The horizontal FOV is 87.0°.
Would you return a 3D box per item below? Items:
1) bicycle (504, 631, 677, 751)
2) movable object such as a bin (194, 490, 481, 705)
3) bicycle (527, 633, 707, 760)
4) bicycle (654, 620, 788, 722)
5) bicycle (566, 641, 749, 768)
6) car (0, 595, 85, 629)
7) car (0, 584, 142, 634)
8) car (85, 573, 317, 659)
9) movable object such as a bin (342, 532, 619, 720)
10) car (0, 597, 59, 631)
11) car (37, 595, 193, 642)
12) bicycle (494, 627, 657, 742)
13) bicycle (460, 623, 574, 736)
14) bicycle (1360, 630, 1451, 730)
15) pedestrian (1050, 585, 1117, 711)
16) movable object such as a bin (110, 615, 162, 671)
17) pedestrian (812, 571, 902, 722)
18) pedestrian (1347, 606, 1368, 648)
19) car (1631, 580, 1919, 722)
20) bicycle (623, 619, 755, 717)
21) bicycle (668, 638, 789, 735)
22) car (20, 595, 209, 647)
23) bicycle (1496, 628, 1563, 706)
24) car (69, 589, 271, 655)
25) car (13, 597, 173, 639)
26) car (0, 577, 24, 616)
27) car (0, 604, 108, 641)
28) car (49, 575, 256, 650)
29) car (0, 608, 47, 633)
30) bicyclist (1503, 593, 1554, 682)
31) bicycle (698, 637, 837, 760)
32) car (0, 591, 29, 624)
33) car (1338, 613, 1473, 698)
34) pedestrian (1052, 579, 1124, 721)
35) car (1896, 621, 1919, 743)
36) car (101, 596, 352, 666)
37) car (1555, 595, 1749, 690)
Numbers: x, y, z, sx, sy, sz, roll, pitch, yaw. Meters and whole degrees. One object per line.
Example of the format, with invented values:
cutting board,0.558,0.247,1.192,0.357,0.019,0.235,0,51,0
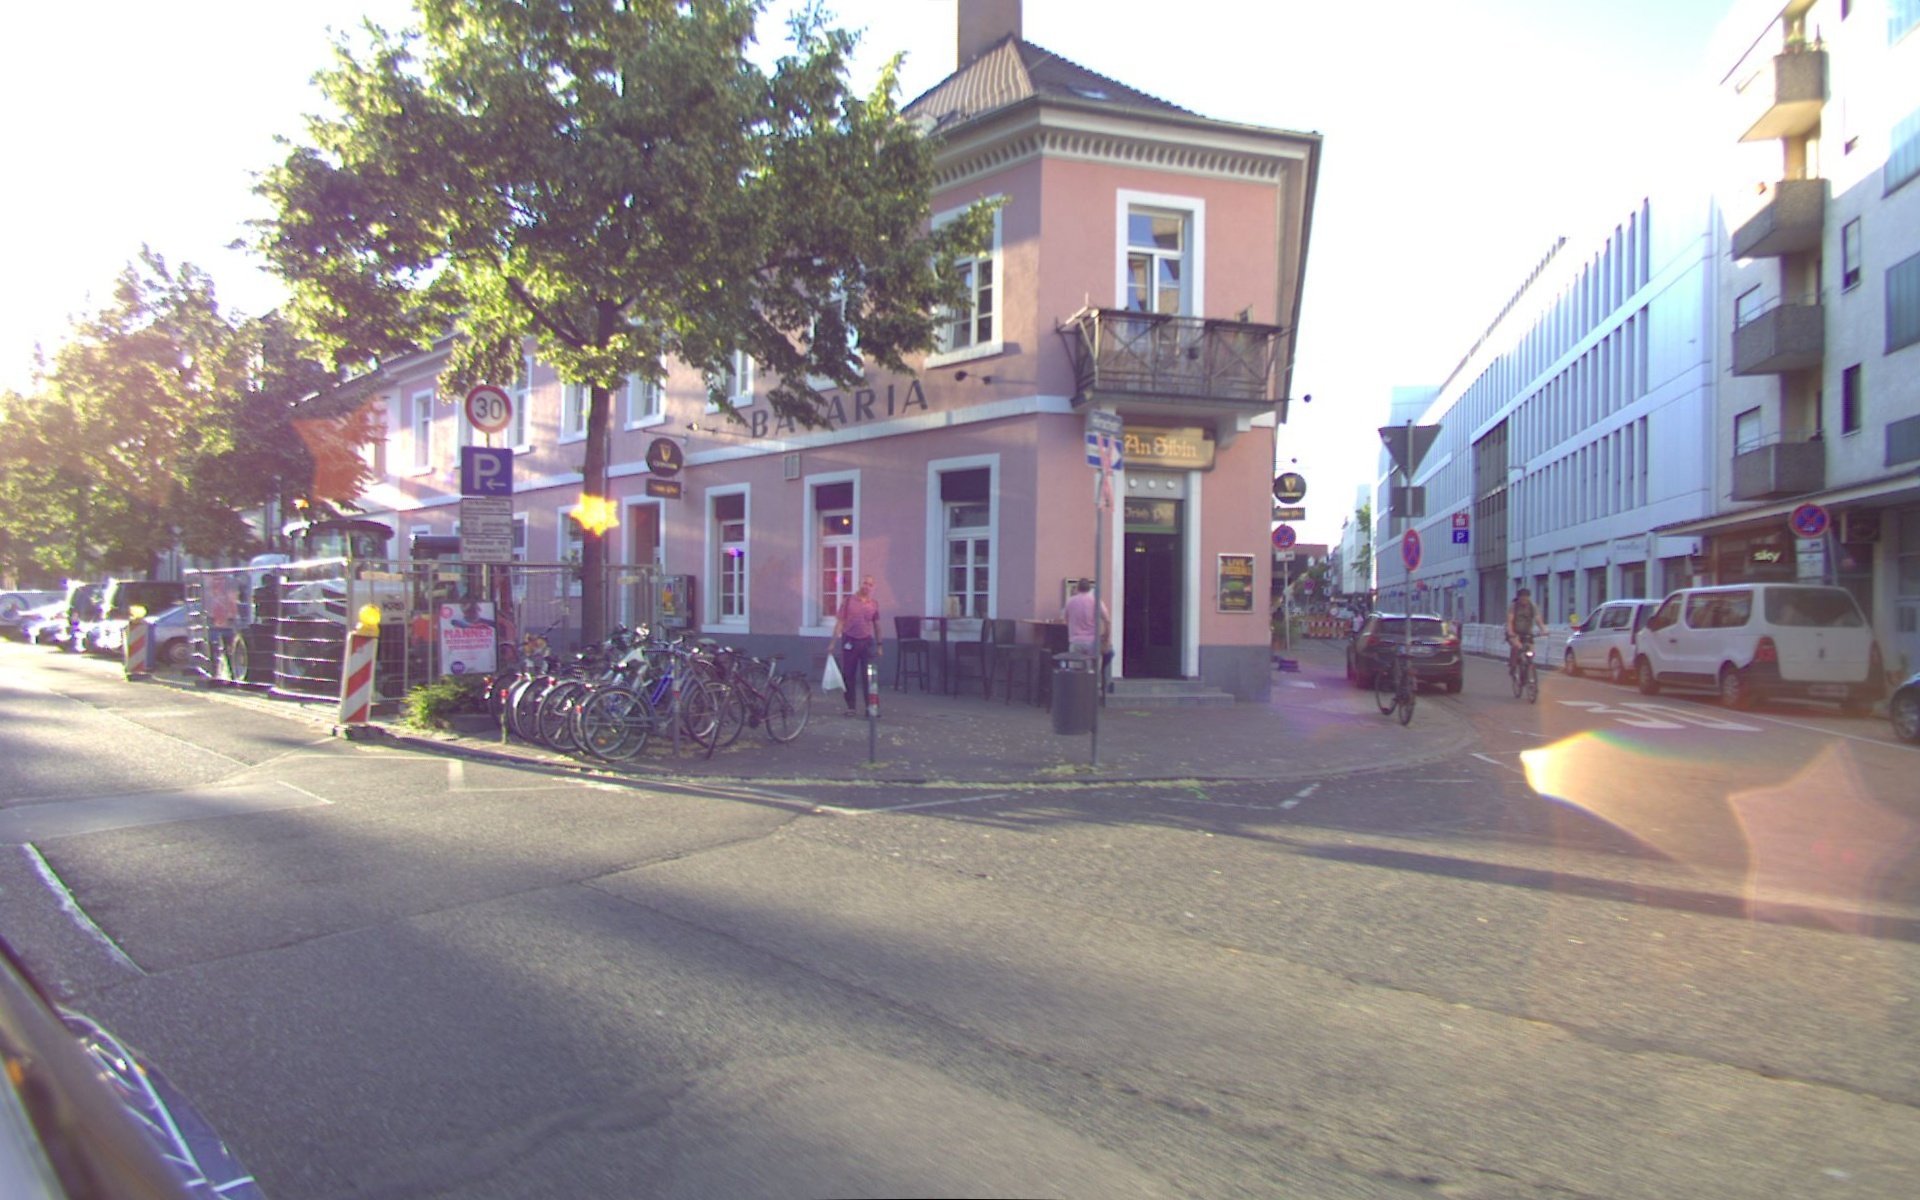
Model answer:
bicycle,-3.891,0.926,10.740,1.662,1.086,0.445,-2,3,-41
movable object such as a bin,-10.466,-0.014,16.842,5.300,2.991,2.597,0,-1,41
bicycle,-3.442,0.935,10.258,1.662,1.086,0.445,-2,3,-41
bicycle,-2.977,0.850,12.726,0.445,1.157,1.664,1,1,44
bicycle,-2.910,0.977,9.861,1.662,1.029,0.445,-2,3,-41
car,-42.522,0.550,45.933,1.962,1.495,3.996,-1,-1,40
car,-36.379,0.391,40.961,1.973,1.922,4.820,-1,-1,41
car,-19.366,0.365,25.979,1.963,1.991,4.439,-1,0,39
movable object such as a bin,-7.416,0.376,16.512,2.278,2.514,5.762,0,-1,-6
car,-51.124,0.747,54.203,1.807,1.820,4.093,-1,-1,42
car,-28.569,0.594,34.269,1.905,1.512,3.880,-1,0,43
bicycle,-4.233,0.893,11.248,0.444,1.086,1.666,1,3,40
bicycle,-5.061,0.875,11.651,0.439,1.125,1.545,0,2,8
bicycle,6.061,1.044,13.870,0.579,1.202,1.938,1,0,7
pedestrian,1.698,0.633,13.899,0.718,1.662,0.501,2,1,32
movable object such as a bin,-16.977,0.870,20.847,0.883,1.113,0.682,-1,-2,43
pedestrian,-1.281,0.551,12.443,1.023,1.779,0.821,0,-1,-12
pedestrian,16.282,1.086,41.431,0.711,1.702,0.779,0,-1,16
car,13.229,0.742,16.727,2.050,1.960,4.510,1,0,13
bicycle,-3.491,0.844,13.141,0.445,1.157,1.664,1,1,44
bicycle,-2.619,0.953,11.528,0.445,0.987,1.309,1,1,44
car,-26.638,0.612,32.003,1.838,1.512,4.288,-1,0,36
bicycle,9.640,1.104,17.205,0.581,1.202,2.111,-2,-1,19
car,-21.449,0.544,27.586,1.859,1.649,4.086,-1,0,41
car,-32.598,0.635,38.155,1.734,1.496,4.429,-1,0,43
car,-66.905,-0.230,68.045,2.170,2.641,5.600,-1,0,41
car,-40.341,0.973,44.683,1.965,1.567,3.993,-1,-1,43
car,-23.426,0.352,29.490,2.067,1.991,4.436,-1,-1,41
car,-56.516,1.174,59.453,1.593,1.450,4.107,-1,-1,42
bicyclist,9.616,0.632,17.151,0.581,1.469,0.739,-2,-1,19
bicycle,-1.902,0.947,10.179,0.470,1.067,1.474,1,1,35
car,-59.086,0.465,60.843,1.919,1.968,4.451,-1,-1,43
car,8.672,1.010,20.071,1.982,1.481,4.501,-1,-1,18
pedestrian,1.643,0.615,12.973,0.718,1.750,0.501,2,1,32
car,11.398,0.925,9.679,1.984,1.390,4.184,0,-1,18
car,-17.118,0.654,23.780,1.893,1.481,4.543,-1,0,44
car,15.328,0.874,22.768,2.050,1.881,4.510,1,0,13
